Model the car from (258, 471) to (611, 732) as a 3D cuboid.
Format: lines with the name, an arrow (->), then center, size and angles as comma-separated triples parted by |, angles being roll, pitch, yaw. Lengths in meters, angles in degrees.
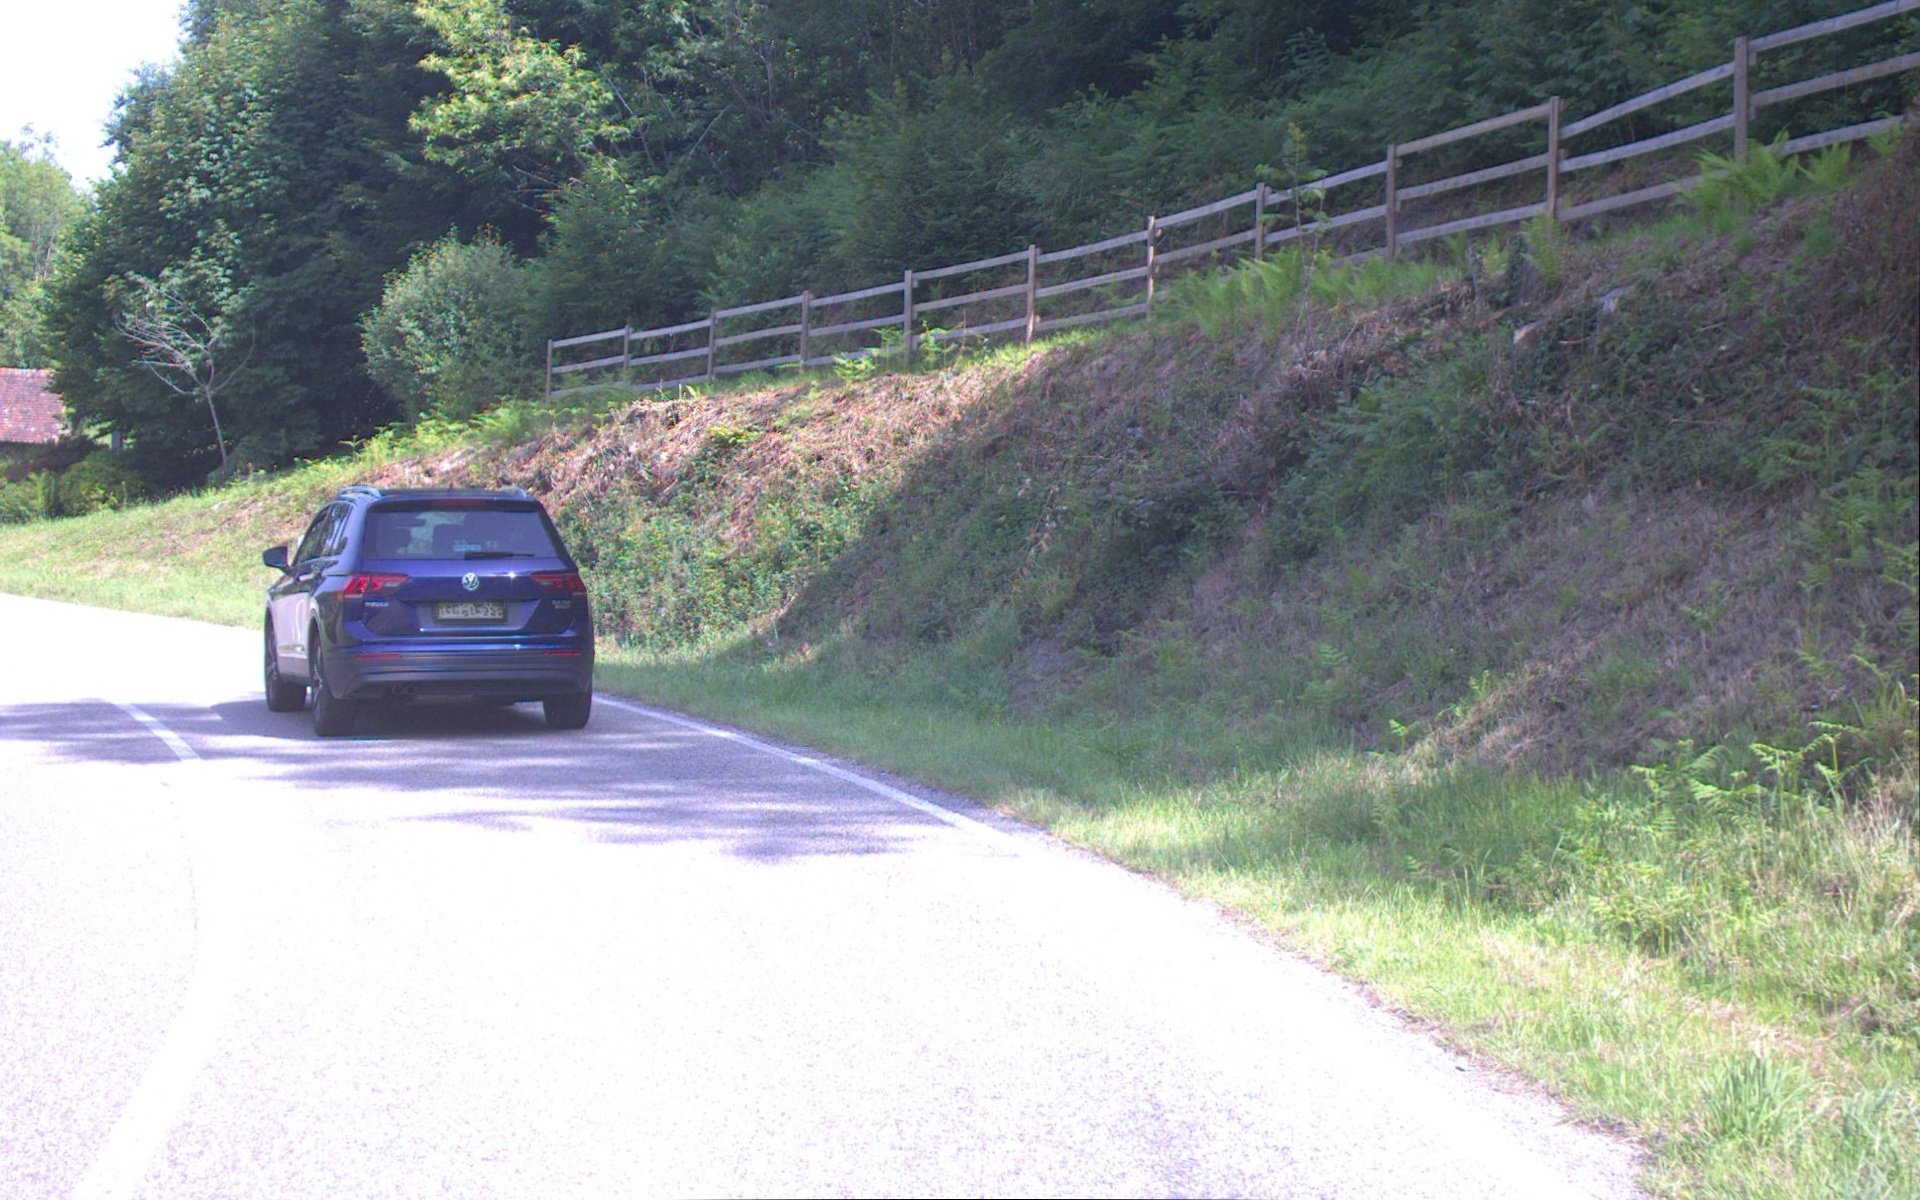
car -> -3.744, -0.034, 23.904 | 1.852, 1.643, 4.141 | 0, 1, -17
